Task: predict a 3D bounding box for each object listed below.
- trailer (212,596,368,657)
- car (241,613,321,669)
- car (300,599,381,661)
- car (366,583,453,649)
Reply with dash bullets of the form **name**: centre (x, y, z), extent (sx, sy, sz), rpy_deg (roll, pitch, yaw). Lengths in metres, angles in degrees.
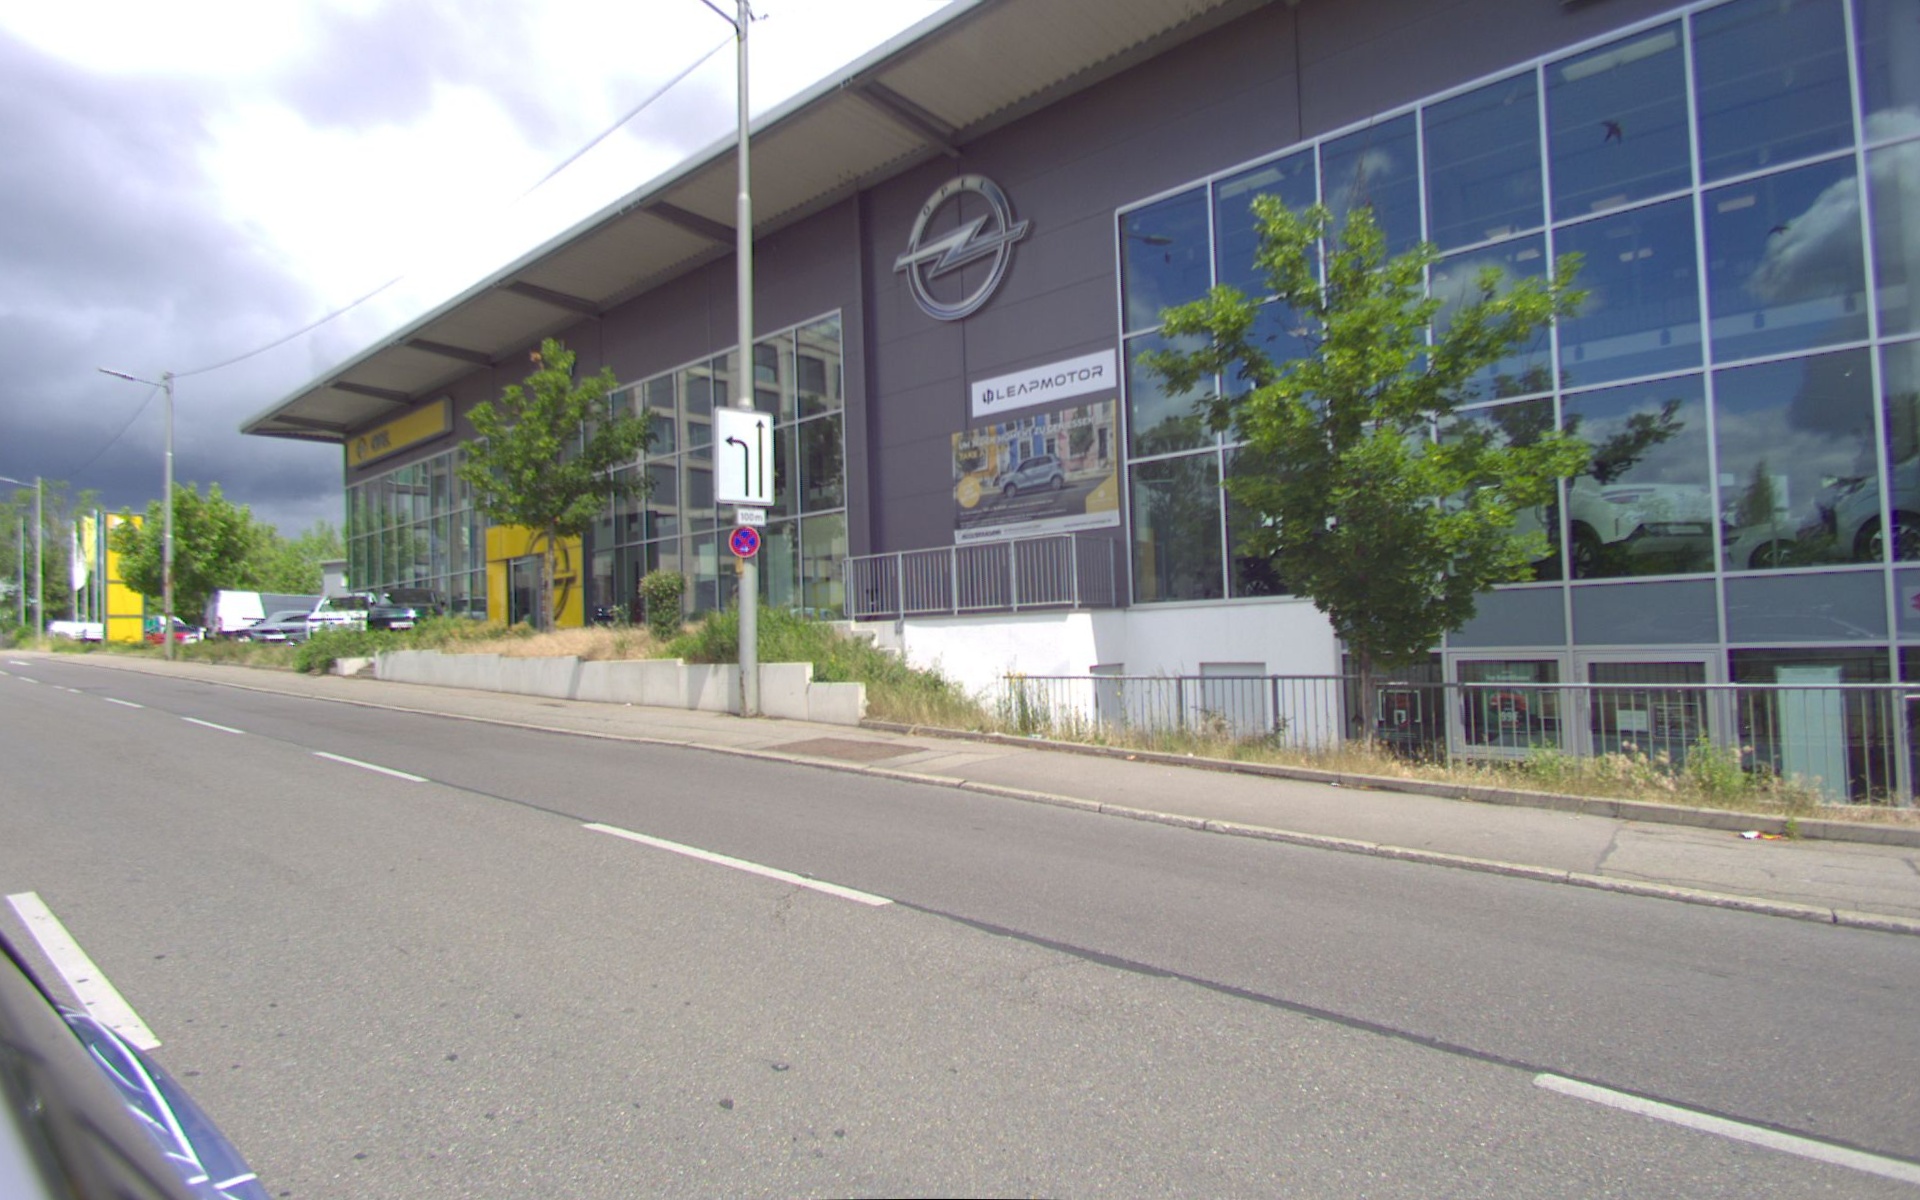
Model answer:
- **trailer**: centre (-27.505, 1.062, 41.692), extent (1.998, 2.367, 5.011), rpy_deg (-1, -2, 39)
- **car**: centre (-23.560, 1.390, 35.238), extent (1.966, 1.807, 4.012), rpy_deg (1, -1, -29)
- **car**: centre (-19.296, 0.934, 31.674), extent (1.966, 1.807, 4.012), rpy_deg (1, -2, -29)
- **car**: centre (-15.771, 0.460, 28.884), extent (1.966, 1.741, 4.012), rpy_deg (1, -2, -31)
